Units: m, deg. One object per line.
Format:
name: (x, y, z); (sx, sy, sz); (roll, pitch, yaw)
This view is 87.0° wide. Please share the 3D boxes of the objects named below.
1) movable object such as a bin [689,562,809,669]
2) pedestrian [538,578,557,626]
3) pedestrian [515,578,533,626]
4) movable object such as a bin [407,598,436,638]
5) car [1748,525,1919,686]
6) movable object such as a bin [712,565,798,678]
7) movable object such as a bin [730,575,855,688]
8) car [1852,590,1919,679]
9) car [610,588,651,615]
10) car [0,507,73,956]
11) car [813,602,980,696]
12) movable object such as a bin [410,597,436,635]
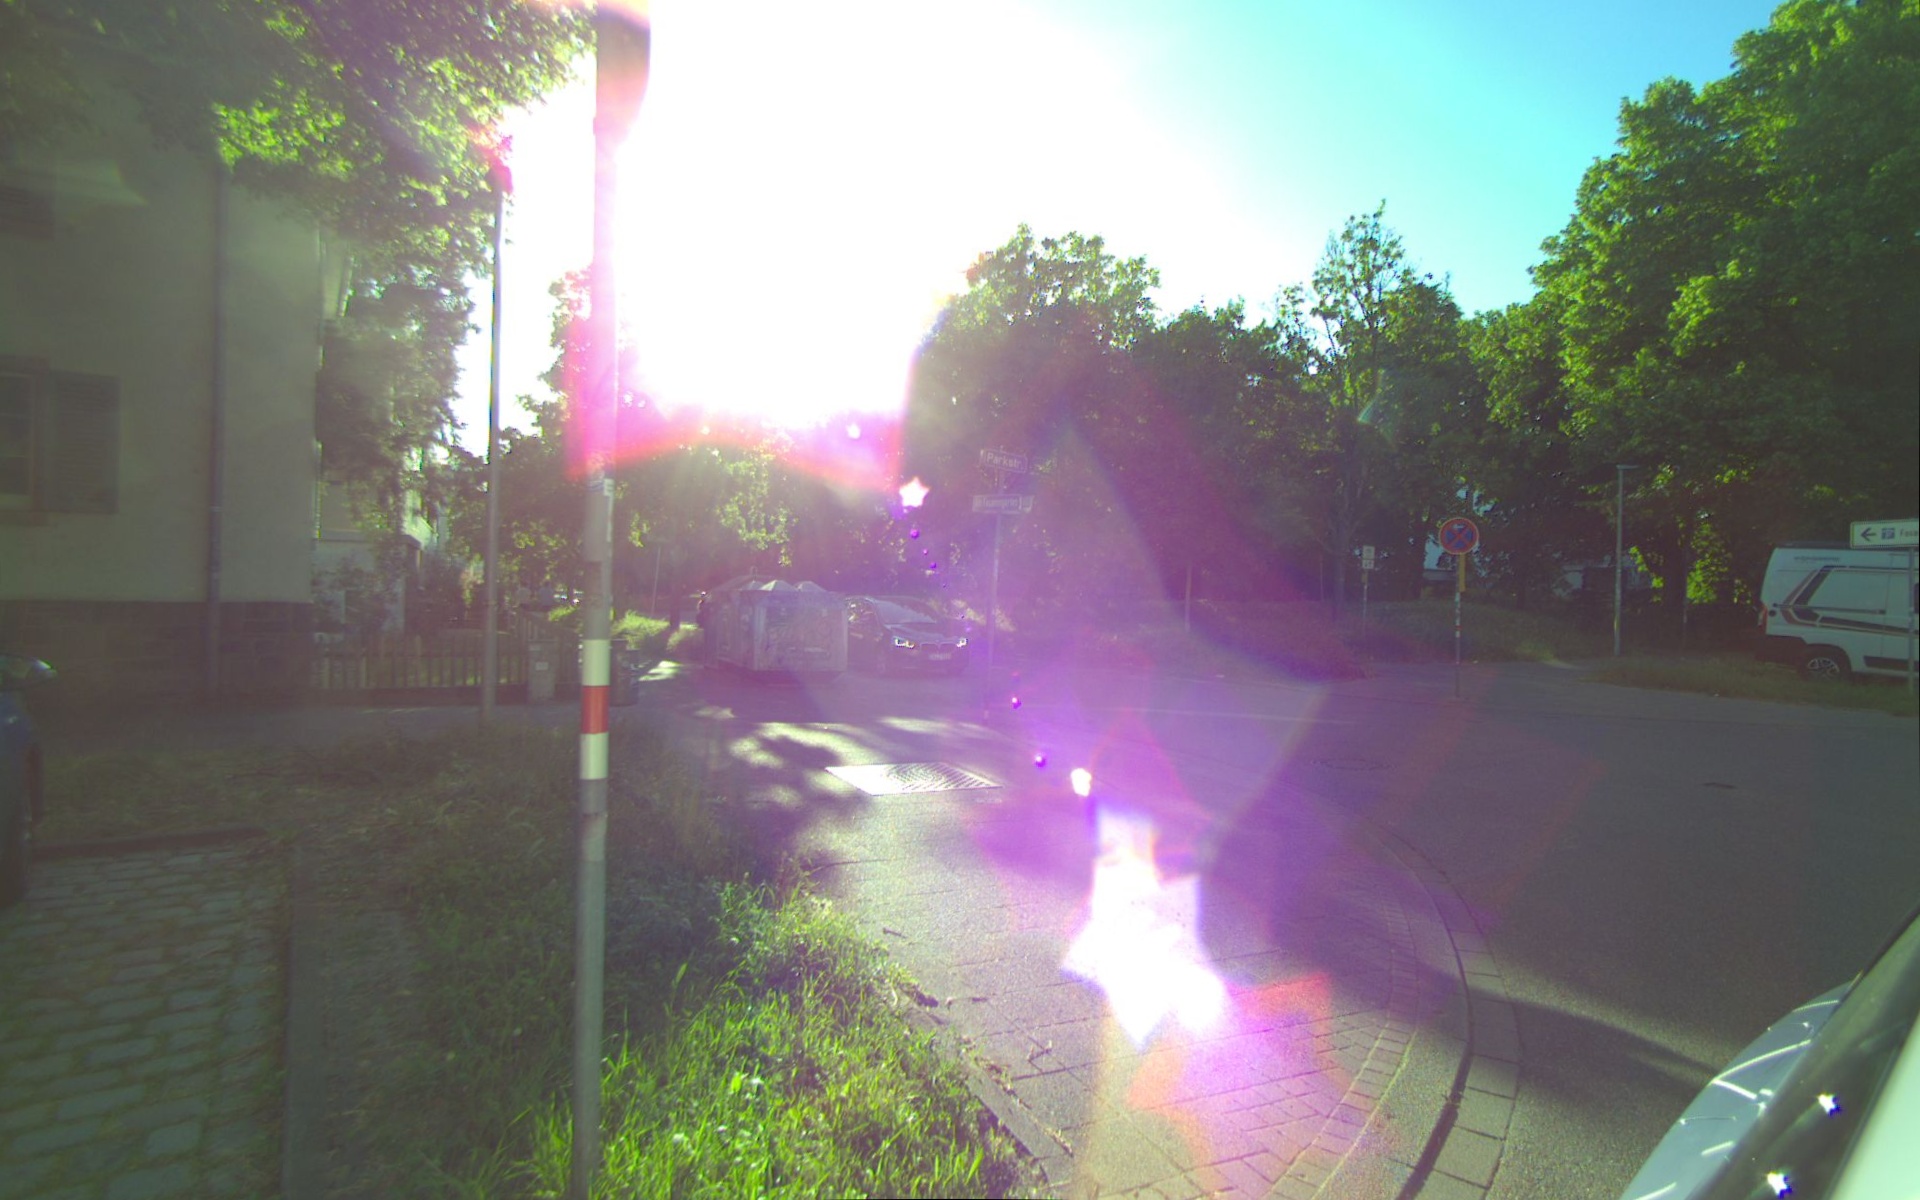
movable object such as a bin: (-3.952, 0.247, 18.879); (1.887, 1.876, 1.396); (0, 1, -27)
pedestrian: (-16.838, 0.068, 41.266); (0.661, 1.917, 0.897); (0, 1, -26)
pedestrian: (-17.577, 0.076, 40.792); (0.631, 1.917, 1.020); (0, 1, -26)
movable object such as a bin: (-14.629, 0.484, 27.506); (0.632, 1.042, 0.646); (3, 0, -27)
car: (16.876, 0.096, 16.758); (2.196, 2.646, 5.633); (0, 2, -35)
movable object such as a bin: (-3.567, 0.334, 17.514); (1.127, 1.850, 1.389); (0, 1, -26)
movable object such as a bin: (-2.709, 0.449, 16.218); (1.558, 1.678, 1.643); (0, 1, -26)
car: (19.084, 0.672, 18.136); (1.941, 1.594, 4.301); (0, 2, -35)
car: (-20.168, 0.069, 61.863); (1.958, 1.559, 4.008); (0, 2, -24)
car: (-4.046, 0.479, 2.807); (1.962, 1.574, 4.001); (0, 3, -35)
car: (-1.490, 0.932, 21.694); (1.852, 1.642, 4.626); (0, 2, -28)
movable object such as a bin: (-15.443, 0.453, 29.106); (0.603, 1.042, 0.596); (3, 0, -27)
